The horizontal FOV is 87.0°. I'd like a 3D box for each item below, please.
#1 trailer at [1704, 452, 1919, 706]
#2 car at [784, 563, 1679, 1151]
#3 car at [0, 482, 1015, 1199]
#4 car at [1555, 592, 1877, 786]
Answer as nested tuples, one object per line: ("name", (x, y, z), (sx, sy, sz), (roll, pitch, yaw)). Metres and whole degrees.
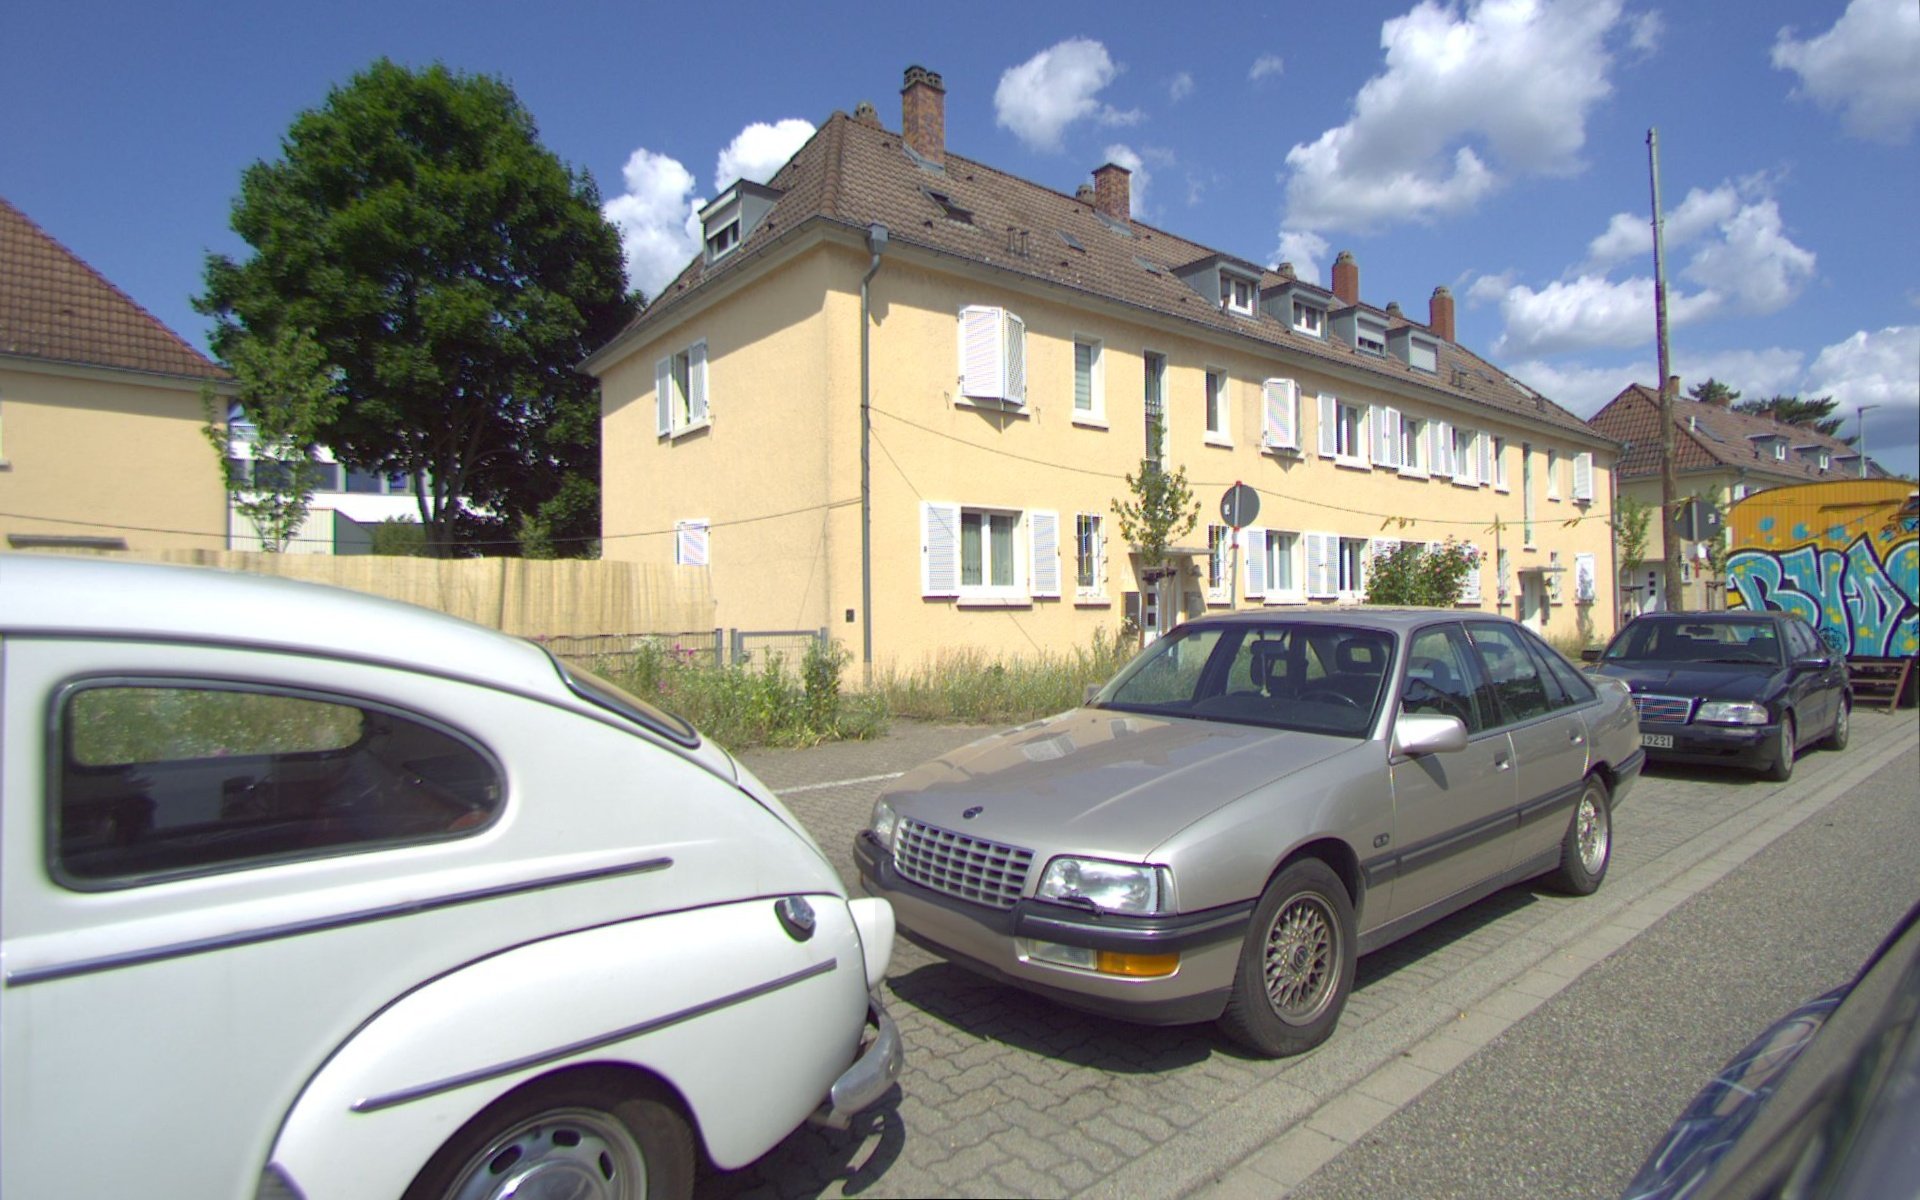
("trailer", (13.704, -0.265, 15.386), (4.992, 3.268, 2.695), (0, -1, -40))
("car", (1.677, 0.647, 4.761), (4.751, 1.468, 1.709), (0, -1, -41))
("car", (-2.033, 0.632, 1.615), (4.382, 1.532, 1.579), (0, -1, -41))
("car", (7.374, 0.677, 9.697), (4.376, 1.468, 1.579), (0, -1, -41))
